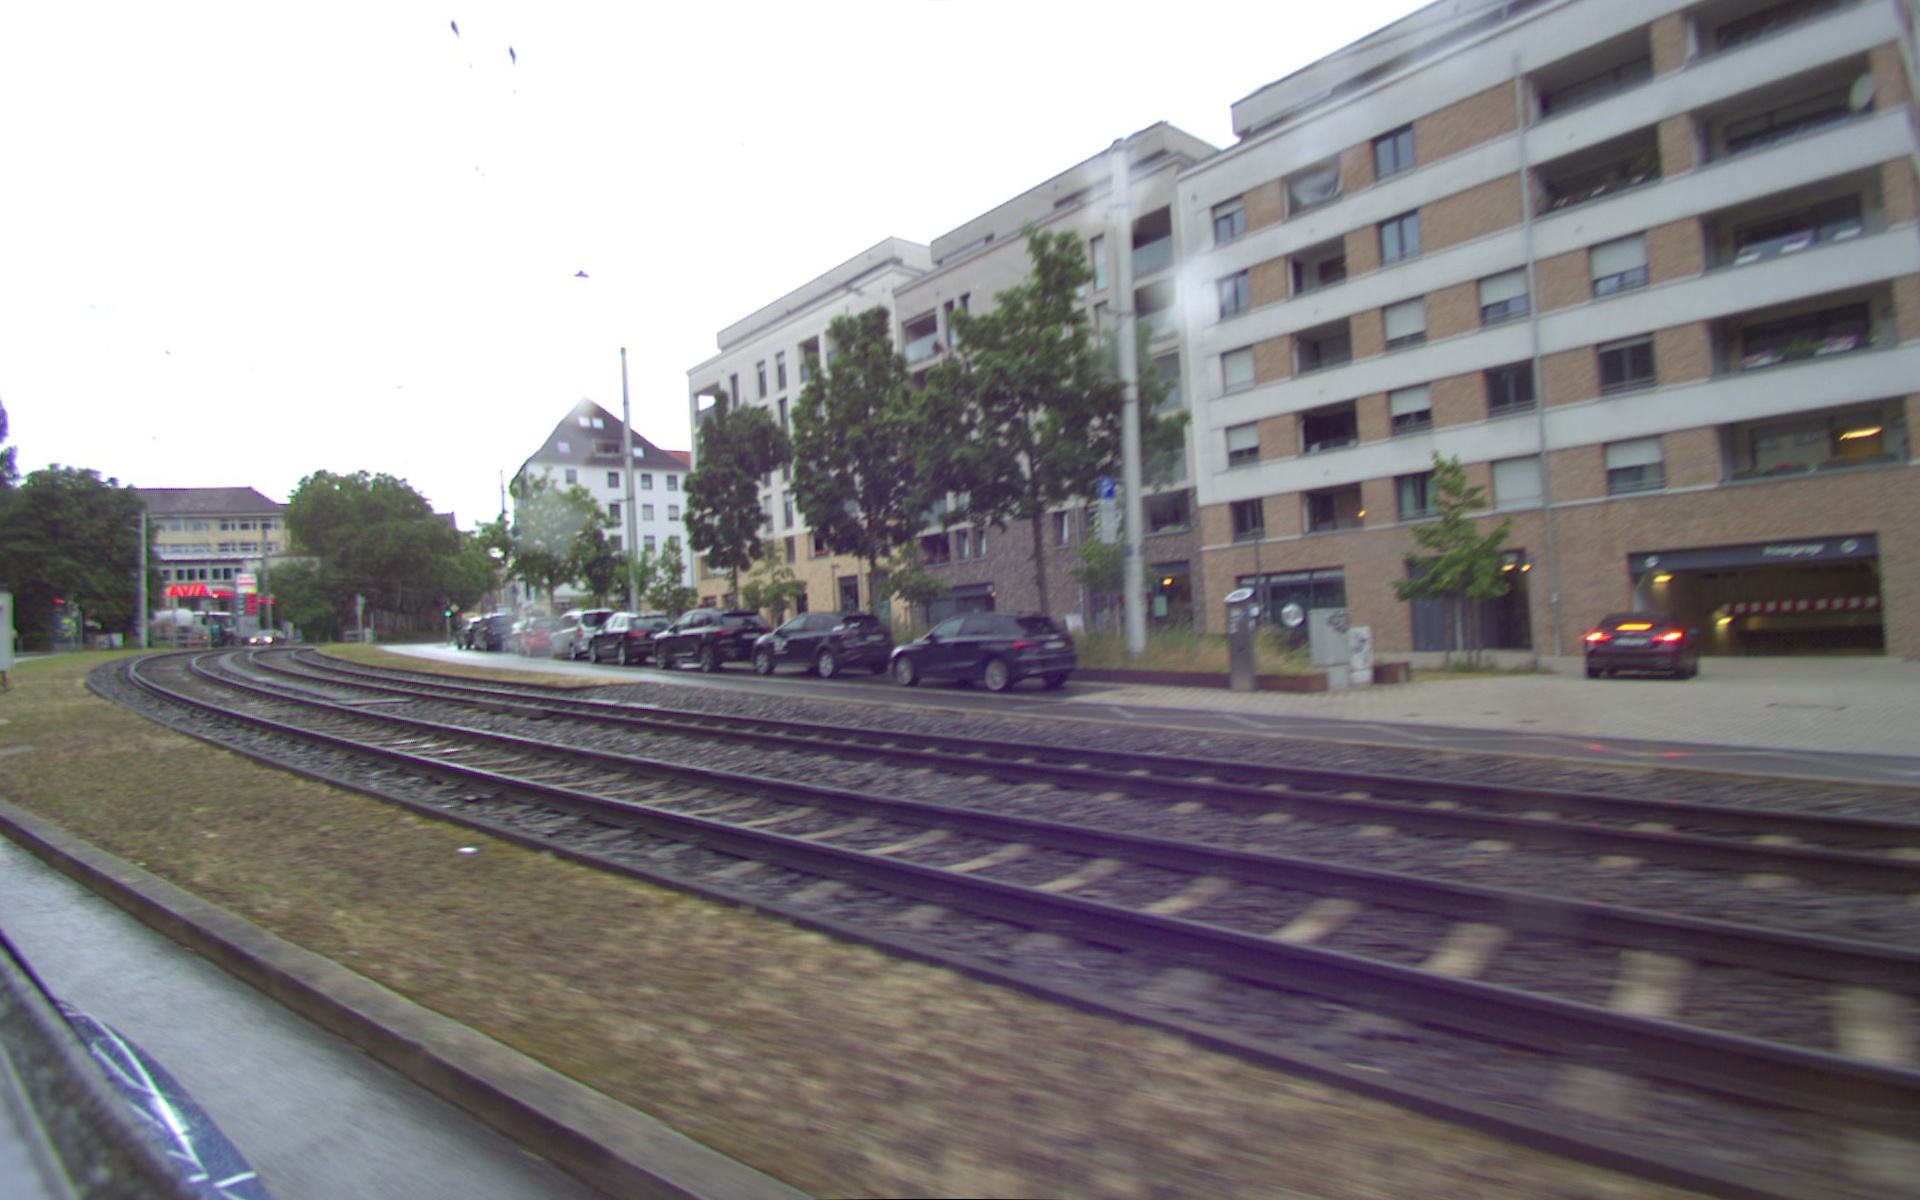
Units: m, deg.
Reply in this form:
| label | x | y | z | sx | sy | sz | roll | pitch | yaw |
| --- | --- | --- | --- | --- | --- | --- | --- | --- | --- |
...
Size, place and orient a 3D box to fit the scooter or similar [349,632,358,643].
| label | x | y | z | sx | sy | sz | roll | pitch | yaw |
| --- | --- | --- | --- | --- | --- | --- | --- | --- | --- |
| scooter or similar | -73.072 | 4.475 | 121.973 | 0.394 | 1.201 | 1.364 | -1 | 2 | -5 |

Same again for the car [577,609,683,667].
| label | x | y | z | sx | sy | sz | roll | pitch | yaw |
| --- | --- | --- | --- | --- | --- | --- | --- | --- | --- |
| car | -10.542 | 1.177 | 32.122 | 1.709 | 1.657 | 4.540 | -2 | 0 | -38 |

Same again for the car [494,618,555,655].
| label | x | y | z | sx | sy | sz | roll | pitch | yaw |
| --- | --- | --- | --- | --- | --- | --- | --- | --- | --- |
| car | -19.167 | 1.580 | 44.458 | 1.530 | 1.458 | 4.410 | -2 | 0 | -35 |

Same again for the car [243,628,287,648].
| label | x | y | z | sx | sy | sz | roll | pitch | yaw |
| --- | --- | --- | --- | --- | --- | --- | --- | --- | --- |
| car | -58.334 | 3.179 | 85.041 | 1.859 | 1.502 | 3.860 | -1 | -1 | -15 |

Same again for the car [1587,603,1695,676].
| label | x | y | z | sx | sy | sz | roll | pitch | yaw |
| --- | --- | --- | --- | --- | --- | --- | --- | --- | --- |
| car | 14.813 | 0.824 | 21.979 | 1.760 | 1.445 | 3.952 | -1 | -2 | 35 |

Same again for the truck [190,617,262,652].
| label | x | y | z | sx | sy | sz | roll | pitch | yaw |
| --- | --- | --- | --- | --- | --- | --- | --- | --- | --- |
| truck | -78.865 | 3.642 | 109.017 | 2.618 | 3.596 | 10.283 | -1 | -1 | -14 |

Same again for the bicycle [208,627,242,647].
| label | x | y | z | sx | sy | sz | roll | pitch | yaw |
| --- | --- | --- | --- | --- | --- | --- | --- | --- | --- |
| bicycle | -46.308 | 2.325 | 63.758 | 1.685 | 1.149 | 0.627 | -1 | -1 | -40 |

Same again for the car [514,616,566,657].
| label | x | y | z | sx | sy | sz | roll | pitch | yaw |
| --- | --- | --- | --- | --- | --- | --- | --- | --- | --- |
| car | -16.854 | 1.430 | 40.561 | 1.449 | 1.542 | 2.939 | -1 | -1 | -32 |

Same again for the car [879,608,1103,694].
| label | x | y | z | sx | sy | sz | roll | pitch | yaw |
| --- | --- | --- | --- | --- | --- | --- | --- | --- | --- |
| car | 0.504 | 0.933 | 19.736 | 1.943 | 1.442 | 4.203 | -2 | 0 | -43 |

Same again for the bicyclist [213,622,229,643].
| label | x | y | z | sx | sy | sz | roll | pitch | yaw |
| --- | --- | --- | --- | --- | --- | --- | --- | --- | --- |
| bicyclist | -46.565 | 2.049 | 63.783 | 0.787 | 1.304 | 0.596 | -1 | 1 | -40 |

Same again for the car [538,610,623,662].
| label | x | y | z | sx | sy | sz | roll | pitch | yaw |
| --- | --- | --- | --- | --- | --- | --- | --- | --- | --- |
| car | -13.835 | 1.283 | 36.773 | 1.642 | 1.761 | 4.266 | -1 | 0 | -38 |

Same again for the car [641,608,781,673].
| label | x | y | z | sx | sy | sz | roll | pitch | yaw |
| --- | --- | --- | --- | --- | --- | --- | --- | --- | --- |
| car | -6.926 | 1.076 | 27.794 | 1.781 | 1.595 | 4.705 | -2 | 0 | -41 |

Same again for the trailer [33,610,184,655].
| label | x | y | z | sx | sy | sz | roll | pitch | yaw |
| --- | --- | --- | --- | --- | --- | --- | --- | --- | --- |
| trailer | -71.329 | 2.655 | 84.966 | 9.679 | 3.421 | 2.819 | -2 | -1 | -8 |

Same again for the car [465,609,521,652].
| label | x | y | z | sx | sy | sz | roll | pitch | yaw |
| --- | --- | --- | --- | --- | --- | --- | --- | --- | --- |
| car | -22.461 | 1.454 | 48.572 | 1.560 | 1.873 | 4.343 | -3 | 1 | -36 |

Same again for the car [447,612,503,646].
| label | x | y | z | sx | sy | sz | roll | pitch | yaw |
| --- | --- | --- | --- | --- | --- | --- | --- | --- | --- |
| car | -25.256 | 1.493 | 52.649 | 1.967 | 1.617 | 4.225 | -1 | -1 | -35 |

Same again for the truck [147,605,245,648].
| label | x | y | z | sx | sy | sz | roll | pitch | yaw |
| --- | --- | --- | --- | --- | --- | --- | --- | --- | --- |
| truck | -64.732 | 2.235 | 85.834 | 6.031 | 3.425 | 2.840 | -1 | -2 | -5 |

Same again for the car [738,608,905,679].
| label | x | y | z | sx | sy | sz | roll | pitch | yaw |
| --- | --- | --- | --- | --- | --- | --- | --- | --- | --- |
| car | -3.395 | 1.000 | 24.285 | 4.259 | 1.500 | 1.717 | -2 | 0 | 45 |
